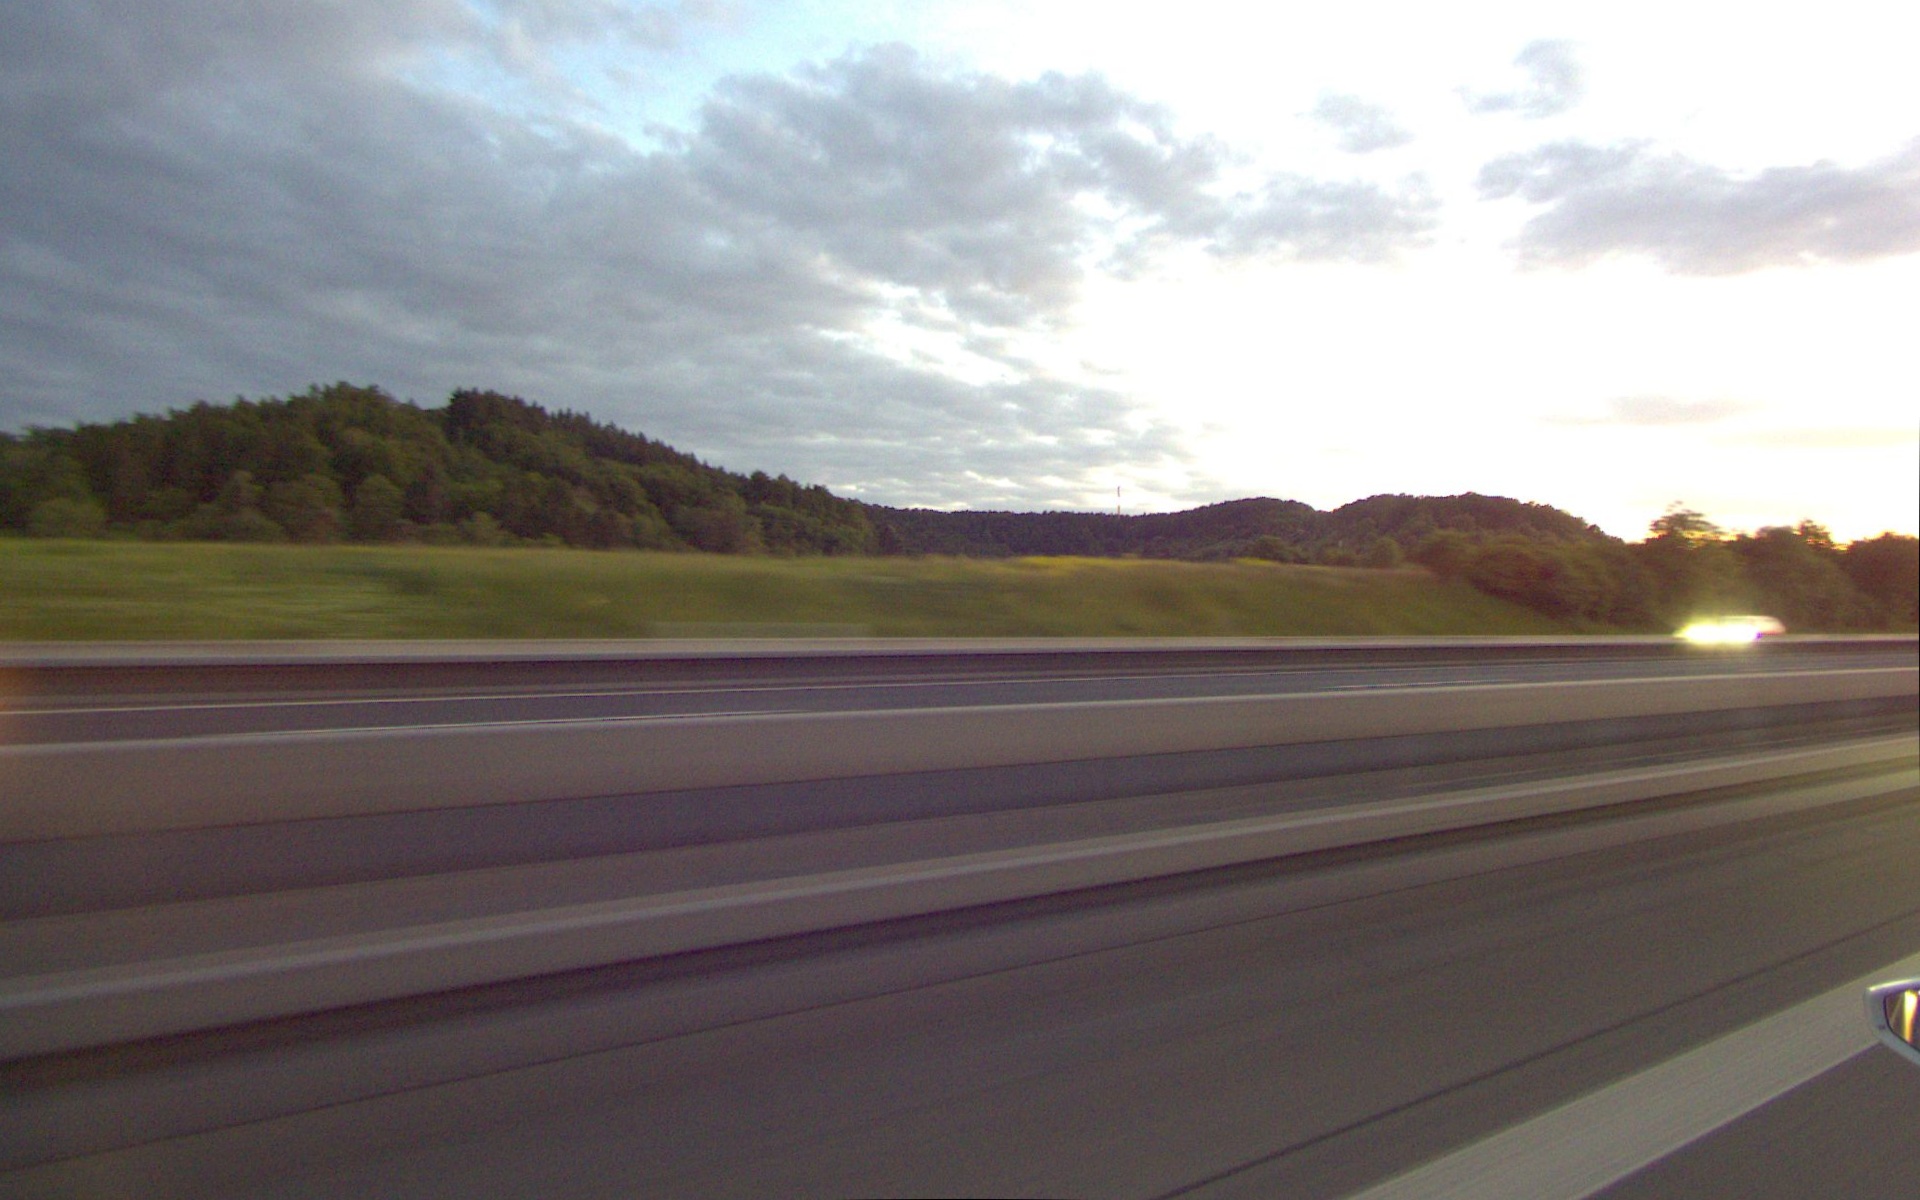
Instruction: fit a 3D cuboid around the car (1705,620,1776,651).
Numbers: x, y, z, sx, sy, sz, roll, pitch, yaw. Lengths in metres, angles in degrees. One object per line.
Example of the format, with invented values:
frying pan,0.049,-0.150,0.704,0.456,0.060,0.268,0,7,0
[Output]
car,39.912,1.819,51.368,3.630,1.514,1.660,1,0,-30
